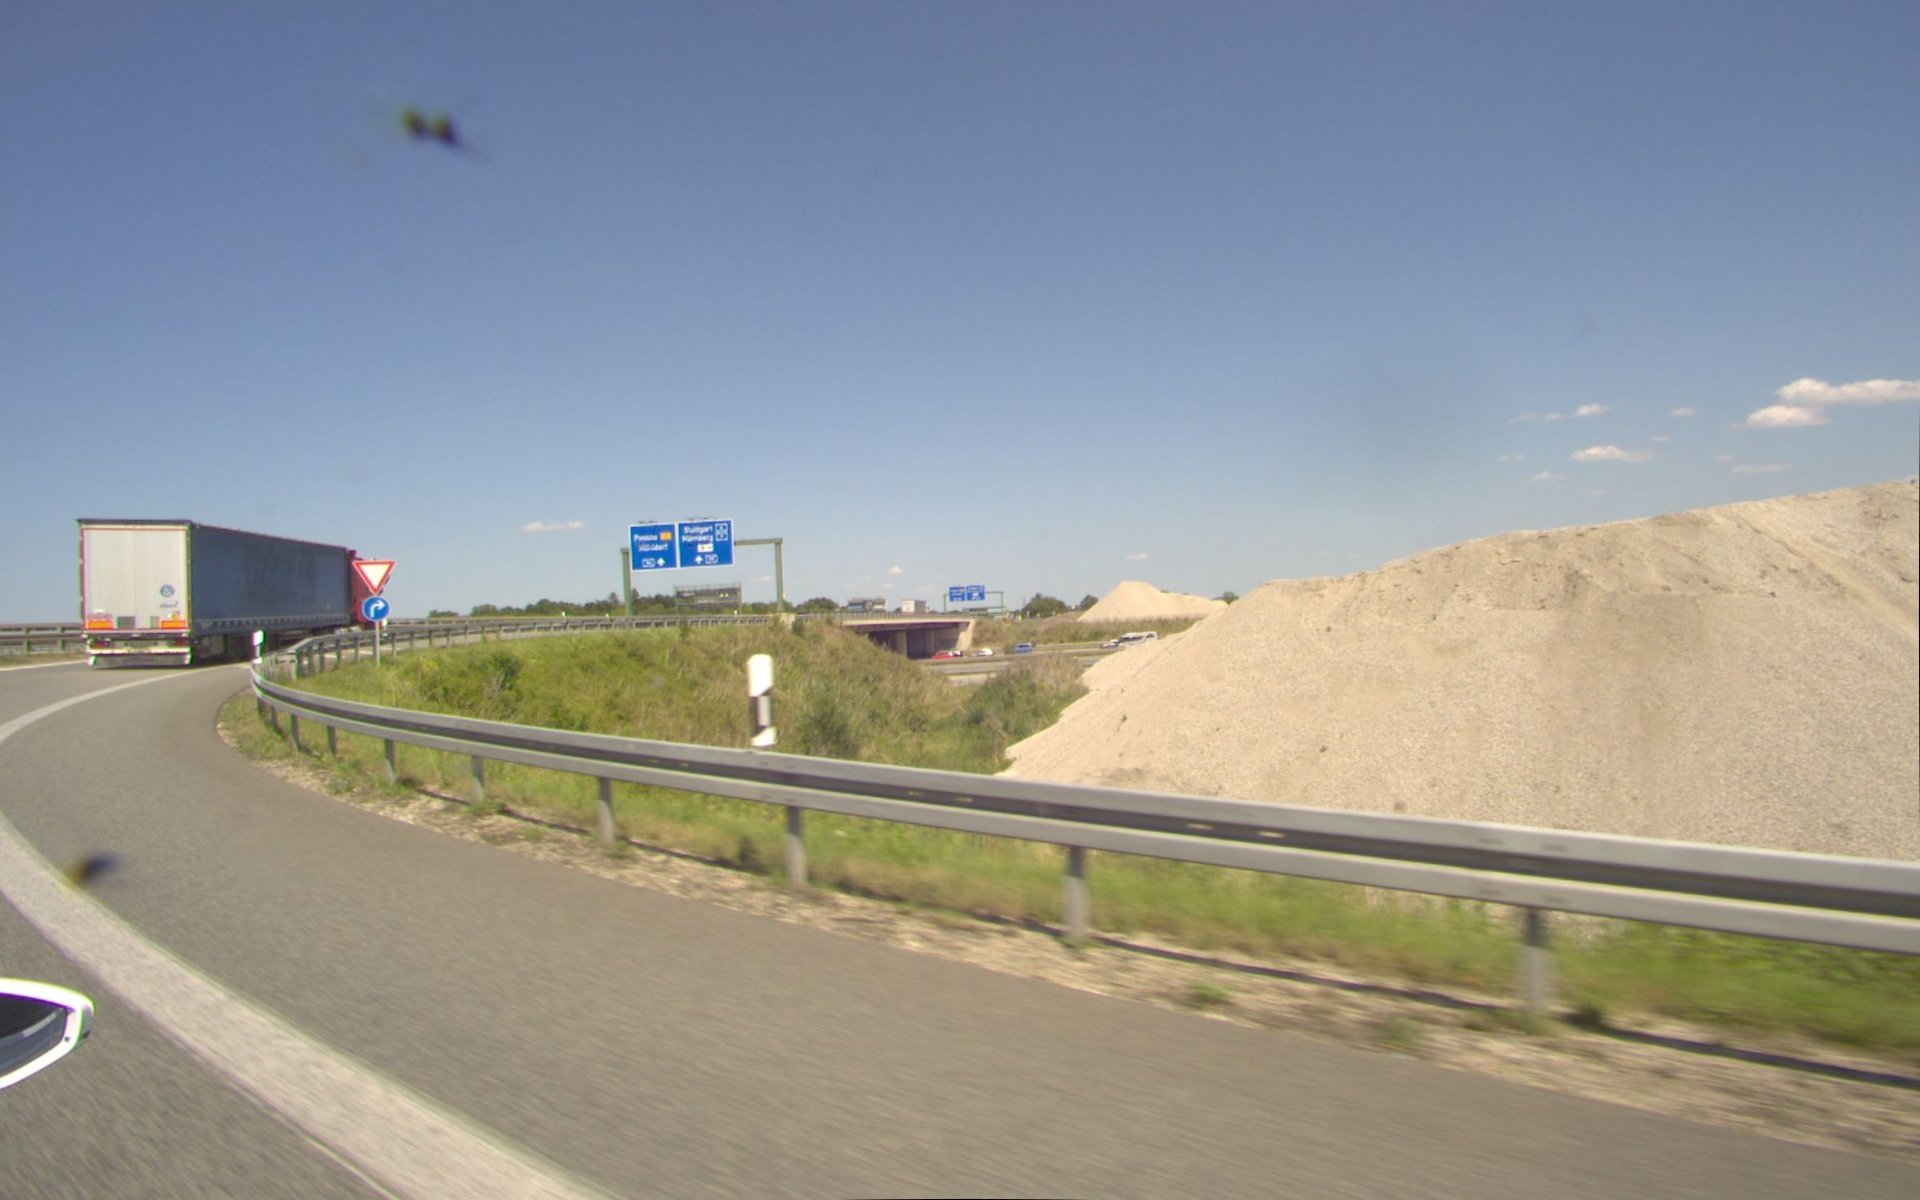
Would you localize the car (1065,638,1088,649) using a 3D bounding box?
[{"bbox_3d":[21.423,7.944,183.584,3.922,2.039,2.001,-1,-1,0],"label":"car"}]

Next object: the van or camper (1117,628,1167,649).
[{"bbox_3d":[31.518,6.677,173.459,8.001,3.031,2.988,-3,-4,-1],"label":"van or camper"}]

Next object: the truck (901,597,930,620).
[{"bbox_3d":[-8.656,1.738,196.884,3.482,4.198,11.258,1,-1,8],"label":"truck"}]

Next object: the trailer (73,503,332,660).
[{"bbox_3d":[-23.856,-0.297,32.540,2.870,4.198,11.243,0,-2,-16],"label":"trailer"}]

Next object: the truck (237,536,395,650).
[{"bbox_3d":[-25.773,-0.152,40.539,2.867,4.198,6.924,0,-2,-9],"label":"truck"}]

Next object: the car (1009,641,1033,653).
[{"bbox_3d":[10.770,8.239,175.884,3.923,2.037,2.003,0,-5,-5],"label":"car"}]
